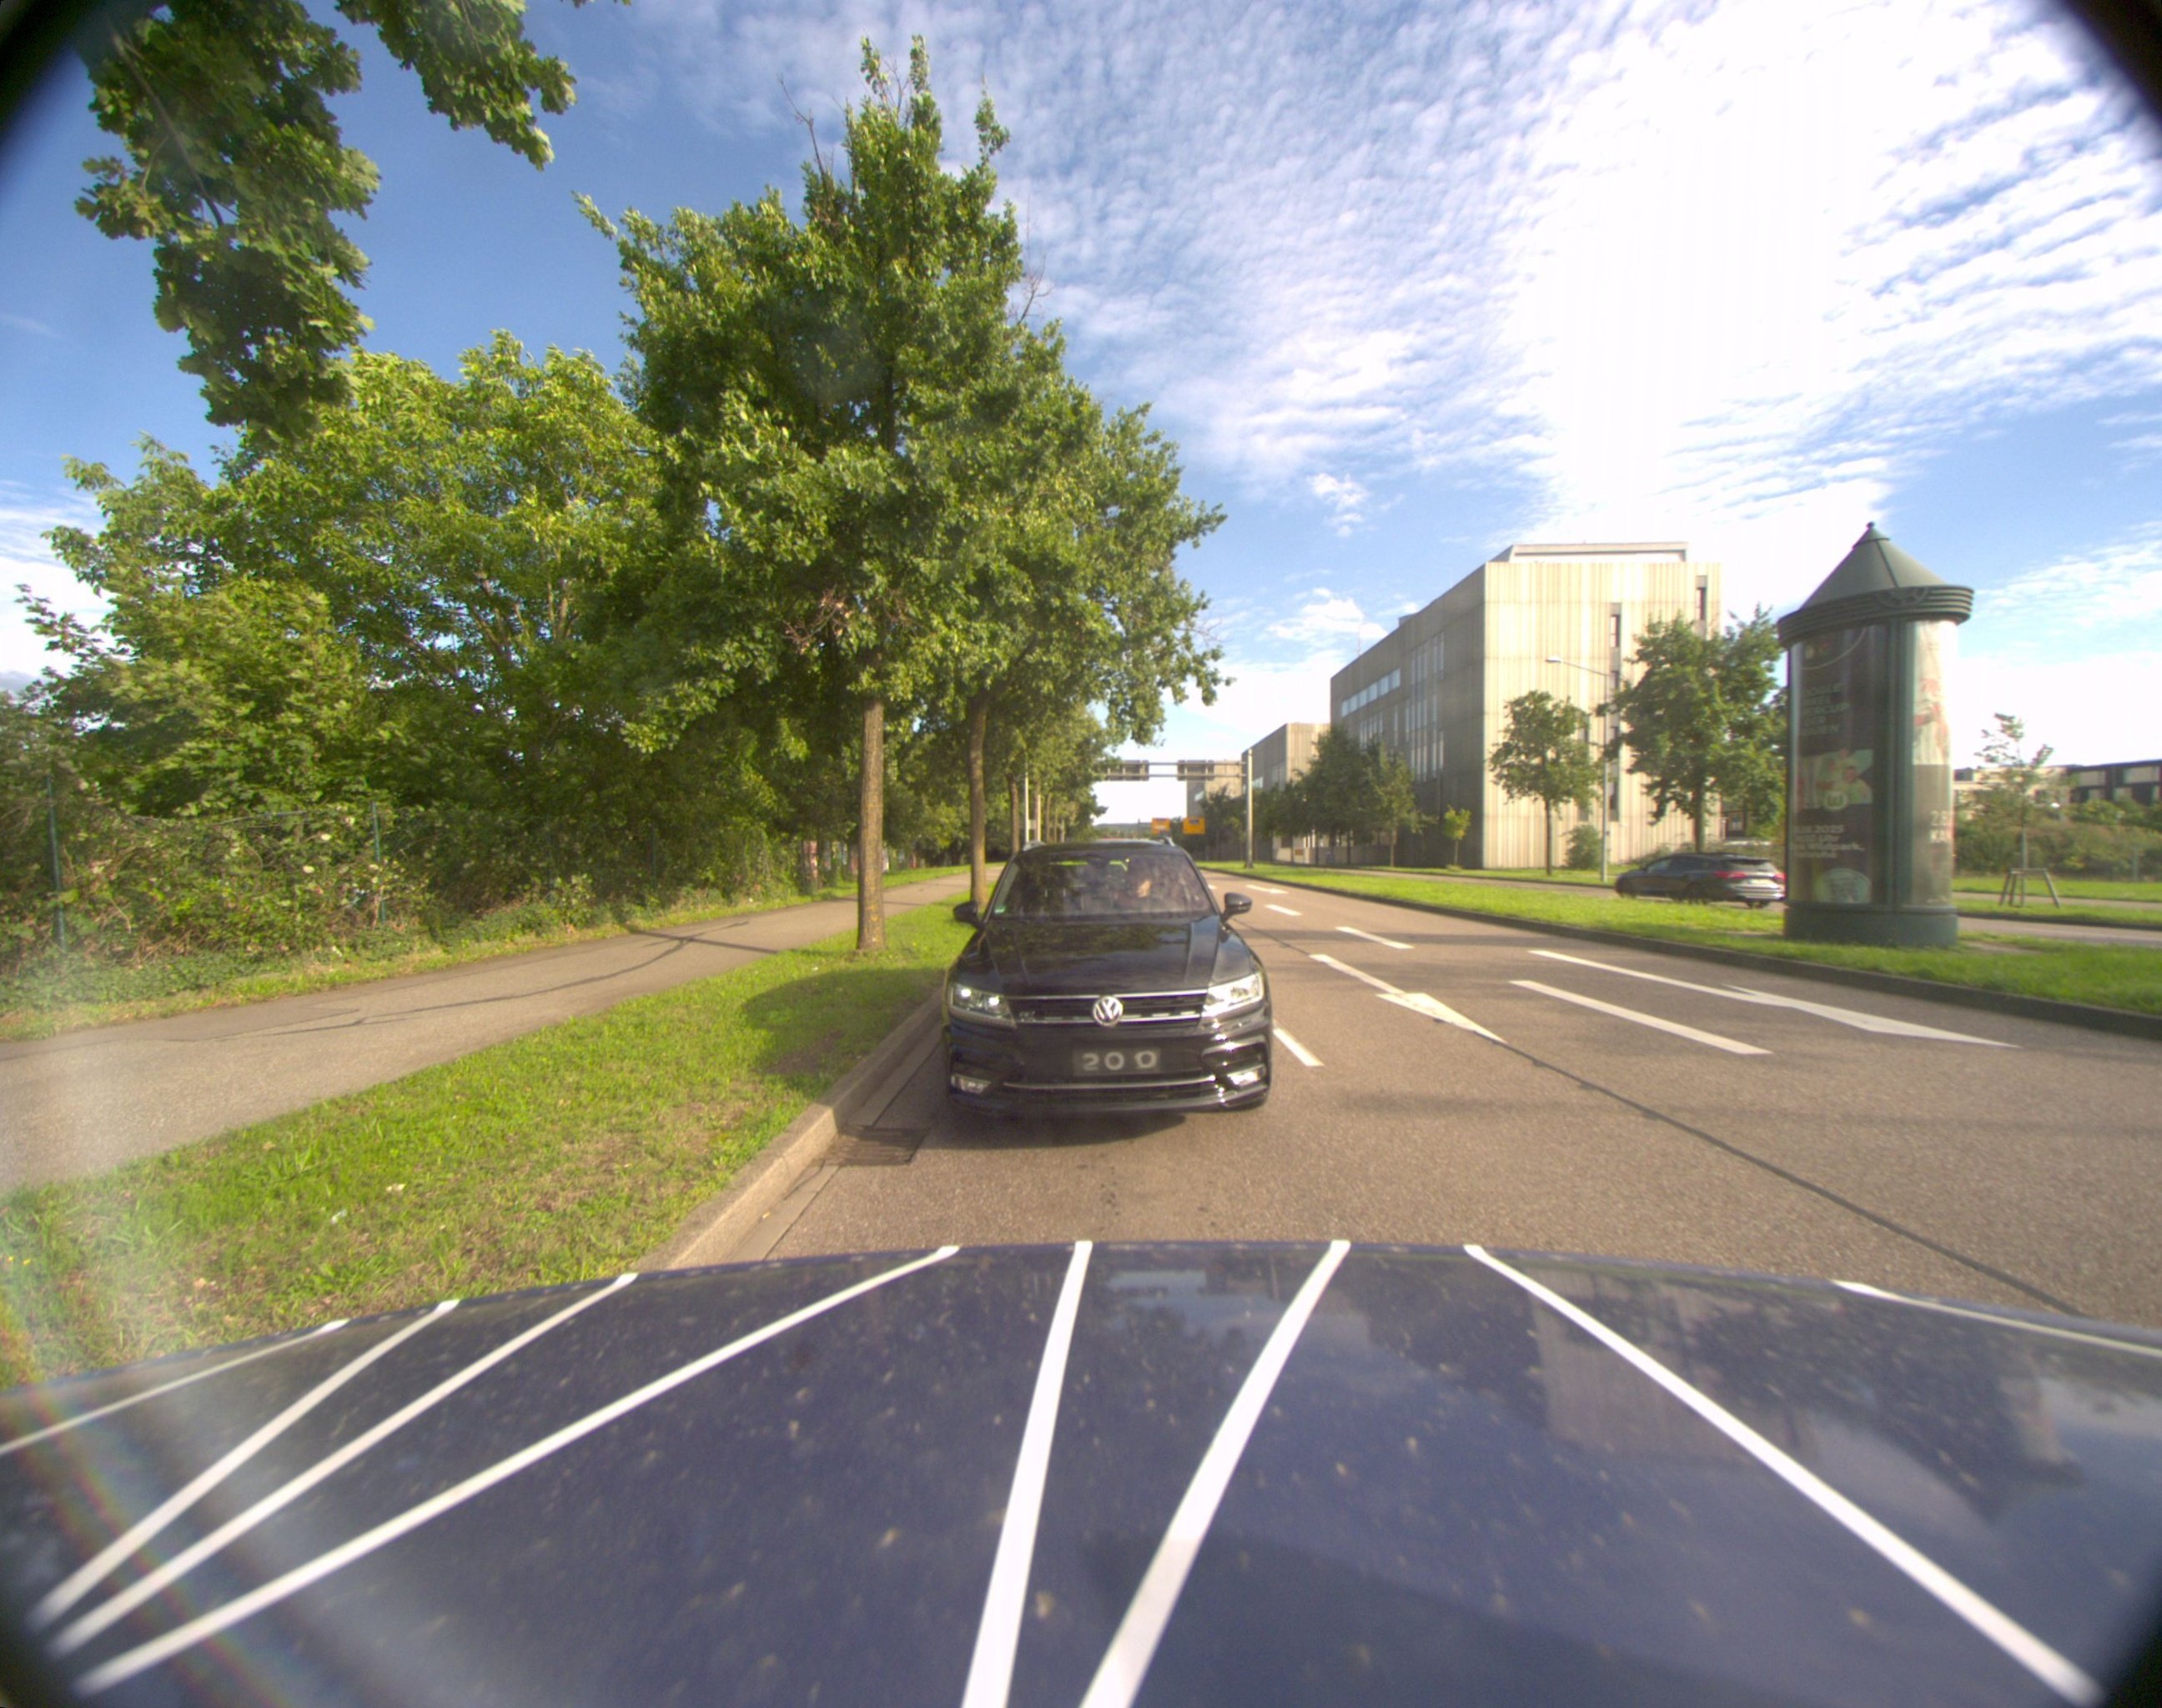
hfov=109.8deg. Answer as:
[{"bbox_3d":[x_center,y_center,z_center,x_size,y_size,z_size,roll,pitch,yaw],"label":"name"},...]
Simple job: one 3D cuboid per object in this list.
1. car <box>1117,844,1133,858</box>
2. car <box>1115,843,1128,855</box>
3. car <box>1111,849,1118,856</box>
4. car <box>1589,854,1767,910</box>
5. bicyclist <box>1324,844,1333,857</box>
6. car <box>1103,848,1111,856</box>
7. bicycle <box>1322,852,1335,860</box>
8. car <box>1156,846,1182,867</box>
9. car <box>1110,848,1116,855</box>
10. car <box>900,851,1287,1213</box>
[{"bbox_3d":[5.417,-0.332,94.364,1.758,1.696,4.000,-1,0,0],"label":"car"},{"bbox_3d":[5.670,-0.706,106.244,1.598,1.660,3.632,0,0,0],"label":"car"},{"bbox_3d":[9.181,-0.519,211.125,1.798,2.002,4.000,0,0,0],"label":"car"},{"bbox_3d":[17.375,0.754,22.426,1.905,1.402,4.207,2,1,0],"label":"car"},{"bbox_3d":[29.488,-0.449,90.593,0.707,1.517,0.989,0,1,1],"label":"bicyclist"},{"bbox_3d":[6.747,-0.500,197.469,1.998,2.002,4.000,3,0,0],"label":"car"},{"bbox_3d":[29.523,0.251,90.622,0.897,0.975,1.911,0,0,1],"label":"bicycle"},{"bbox_3d":[6.643,0.160,57.813,1.745,1.455,4.000,-1,1,3],"label":"car"},{"bbox_3d":[9.742,-0.697,233.996,1.715,2.002,4.000,0,0,0],"label":"car"},{"bbox_3d":[0.111,0.841,5.516,1.775,1.637,3.868,-2,1,2],"label":"car"}]
